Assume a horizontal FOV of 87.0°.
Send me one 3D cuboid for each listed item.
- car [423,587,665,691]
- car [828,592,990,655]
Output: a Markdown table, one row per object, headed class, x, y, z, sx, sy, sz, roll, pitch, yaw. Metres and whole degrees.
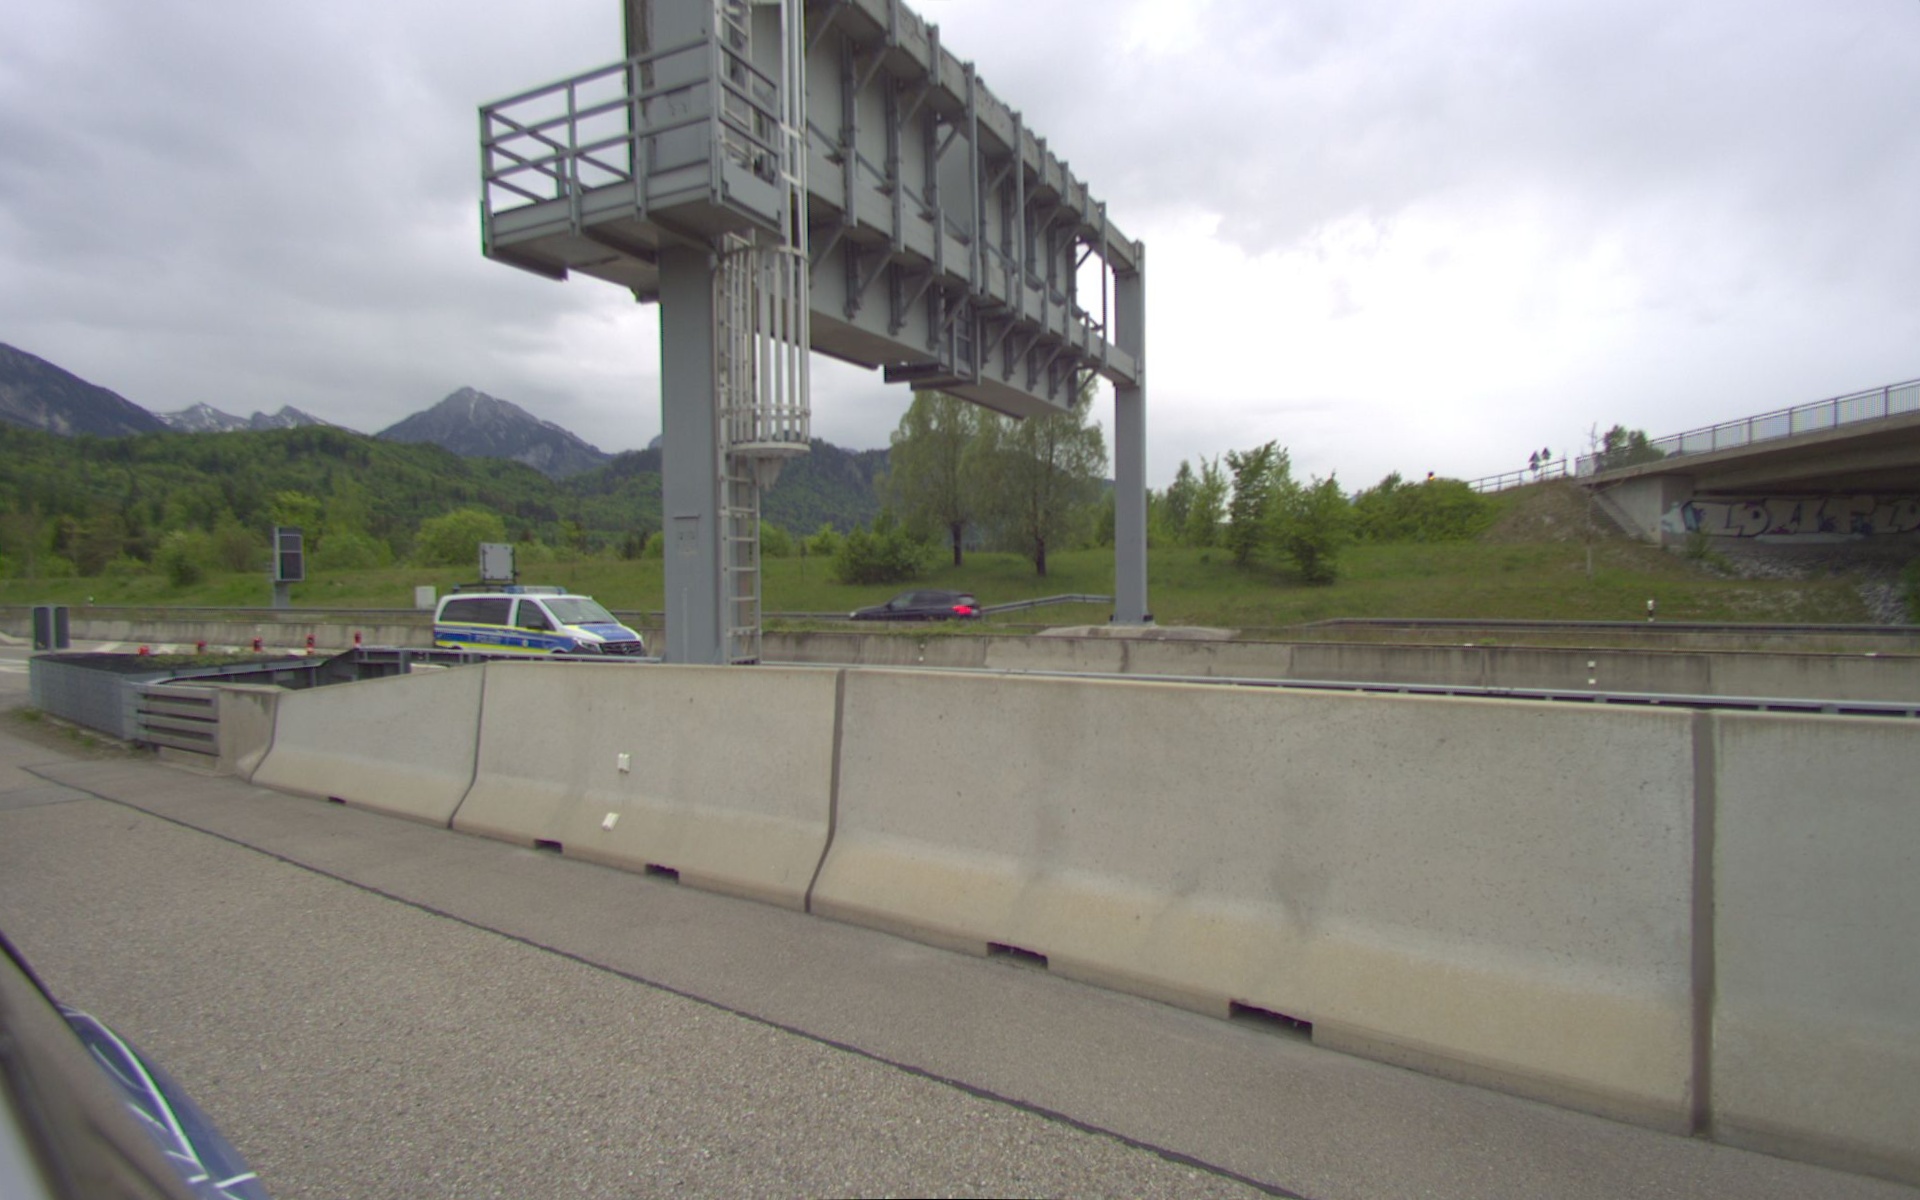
| class | x | y | z | sx | sy | sz | roll | pitch | yaw |
| --- | --- | --- | --- | --- | --- | --- | --- | --- | --- |
| car | -8.954 | 0.773 | 21.705 | 5.028 | 2.029 | 2.085 | 0 | -1 | 28 |
| car | -1.709 | 0.755 | 33.661 | 5.081 | 1.970 | 1.974 | 0 | -1 | 26 |
